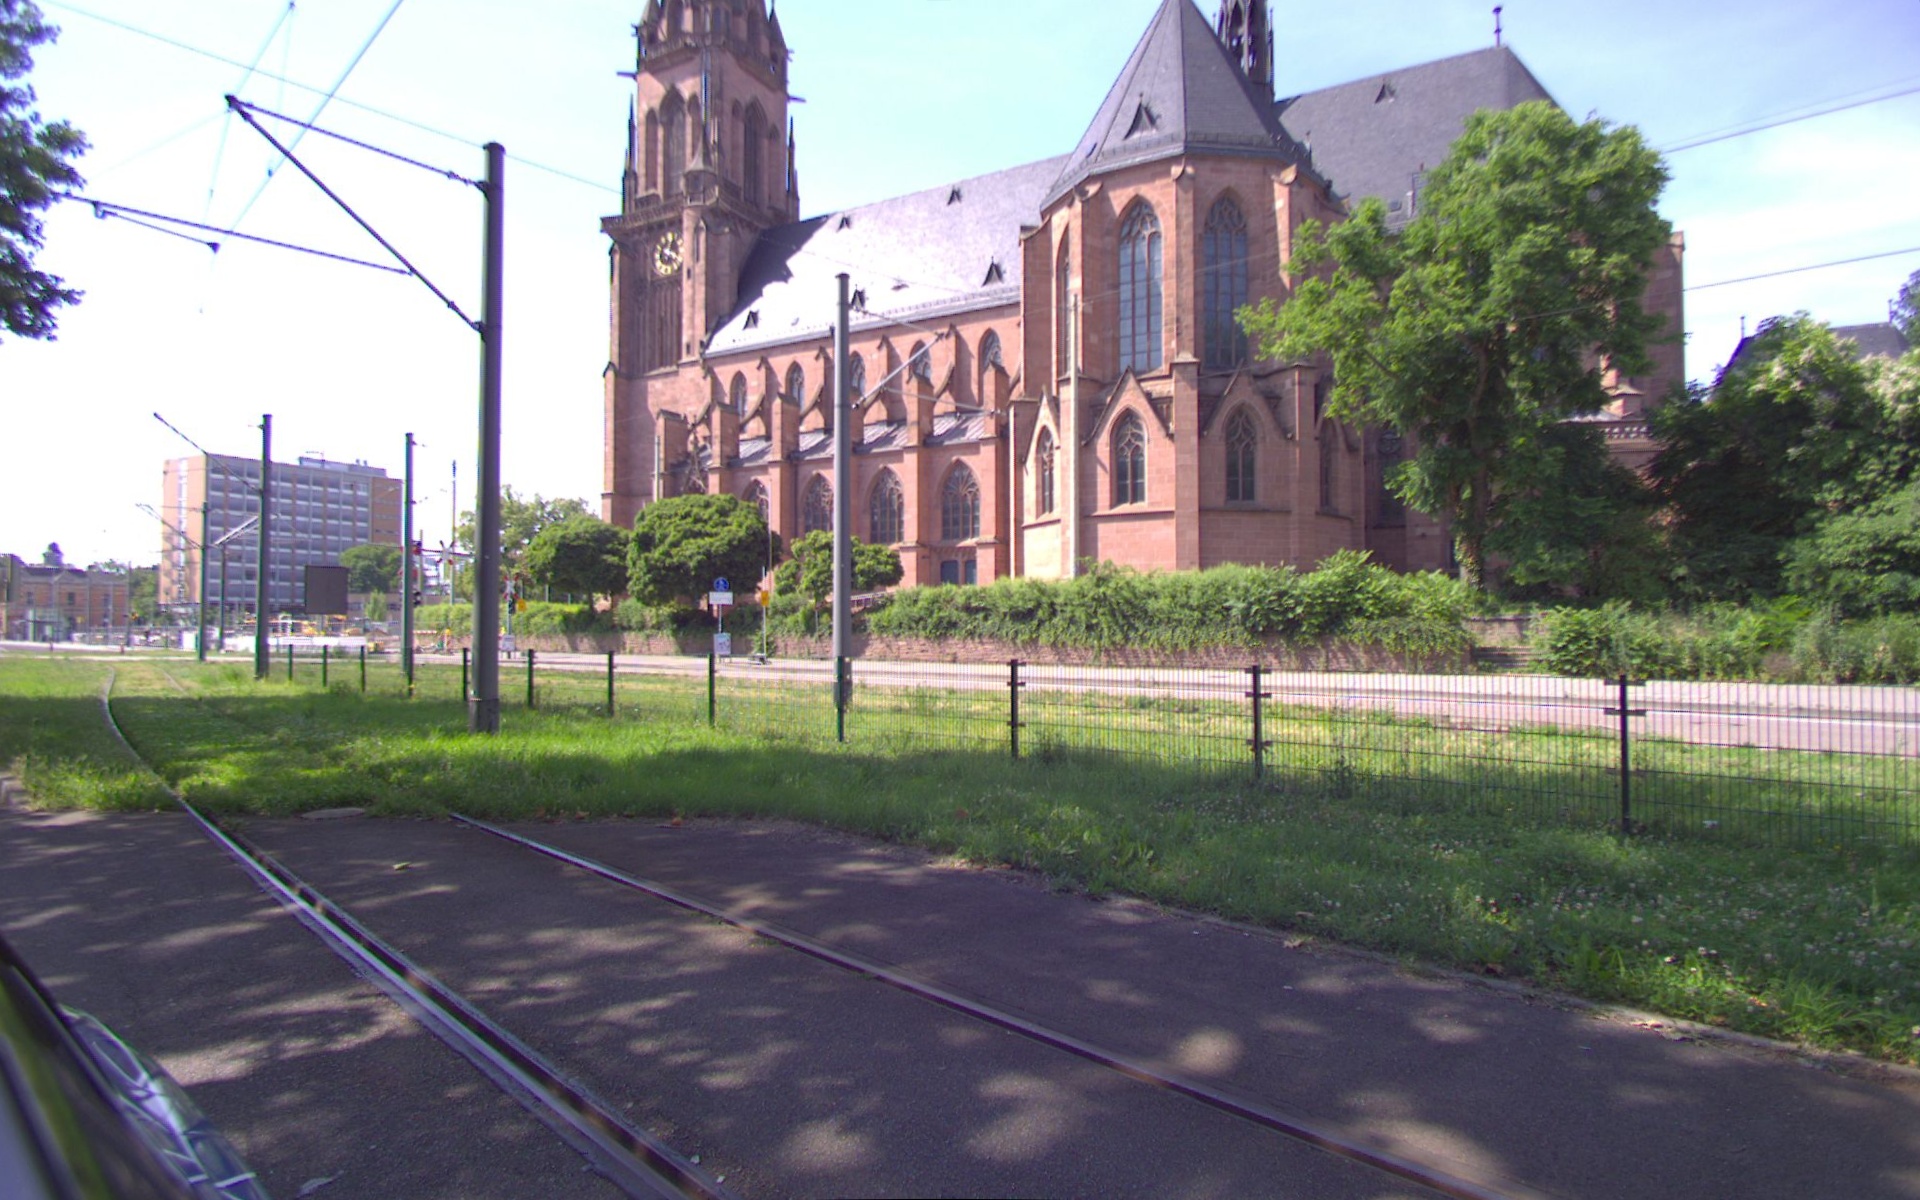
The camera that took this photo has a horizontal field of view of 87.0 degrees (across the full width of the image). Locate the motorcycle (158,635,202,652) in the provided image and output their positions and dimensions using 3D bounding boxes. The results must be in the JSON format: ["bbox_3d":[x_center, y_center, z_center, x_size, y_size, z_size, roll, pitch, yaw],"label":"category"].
[{"bbox_3d":[-63.893,3.568,82.855,3.916,1.349,1.234,-1,-2,26],"label":"motorcycle"}]

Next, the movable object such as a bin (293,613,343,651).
[{"bbox_3d":[-67.060,3.345,105.708,2.904,3.911,3.327,0,-2,8],"label":"movable object such as a bin"}]

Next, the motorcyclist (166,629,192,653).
[{"bbox_3d":[-63.911,3.339,82.860,1.102,1.945,1.322,-1,-2,25],"label":"motorcyclist"}]
